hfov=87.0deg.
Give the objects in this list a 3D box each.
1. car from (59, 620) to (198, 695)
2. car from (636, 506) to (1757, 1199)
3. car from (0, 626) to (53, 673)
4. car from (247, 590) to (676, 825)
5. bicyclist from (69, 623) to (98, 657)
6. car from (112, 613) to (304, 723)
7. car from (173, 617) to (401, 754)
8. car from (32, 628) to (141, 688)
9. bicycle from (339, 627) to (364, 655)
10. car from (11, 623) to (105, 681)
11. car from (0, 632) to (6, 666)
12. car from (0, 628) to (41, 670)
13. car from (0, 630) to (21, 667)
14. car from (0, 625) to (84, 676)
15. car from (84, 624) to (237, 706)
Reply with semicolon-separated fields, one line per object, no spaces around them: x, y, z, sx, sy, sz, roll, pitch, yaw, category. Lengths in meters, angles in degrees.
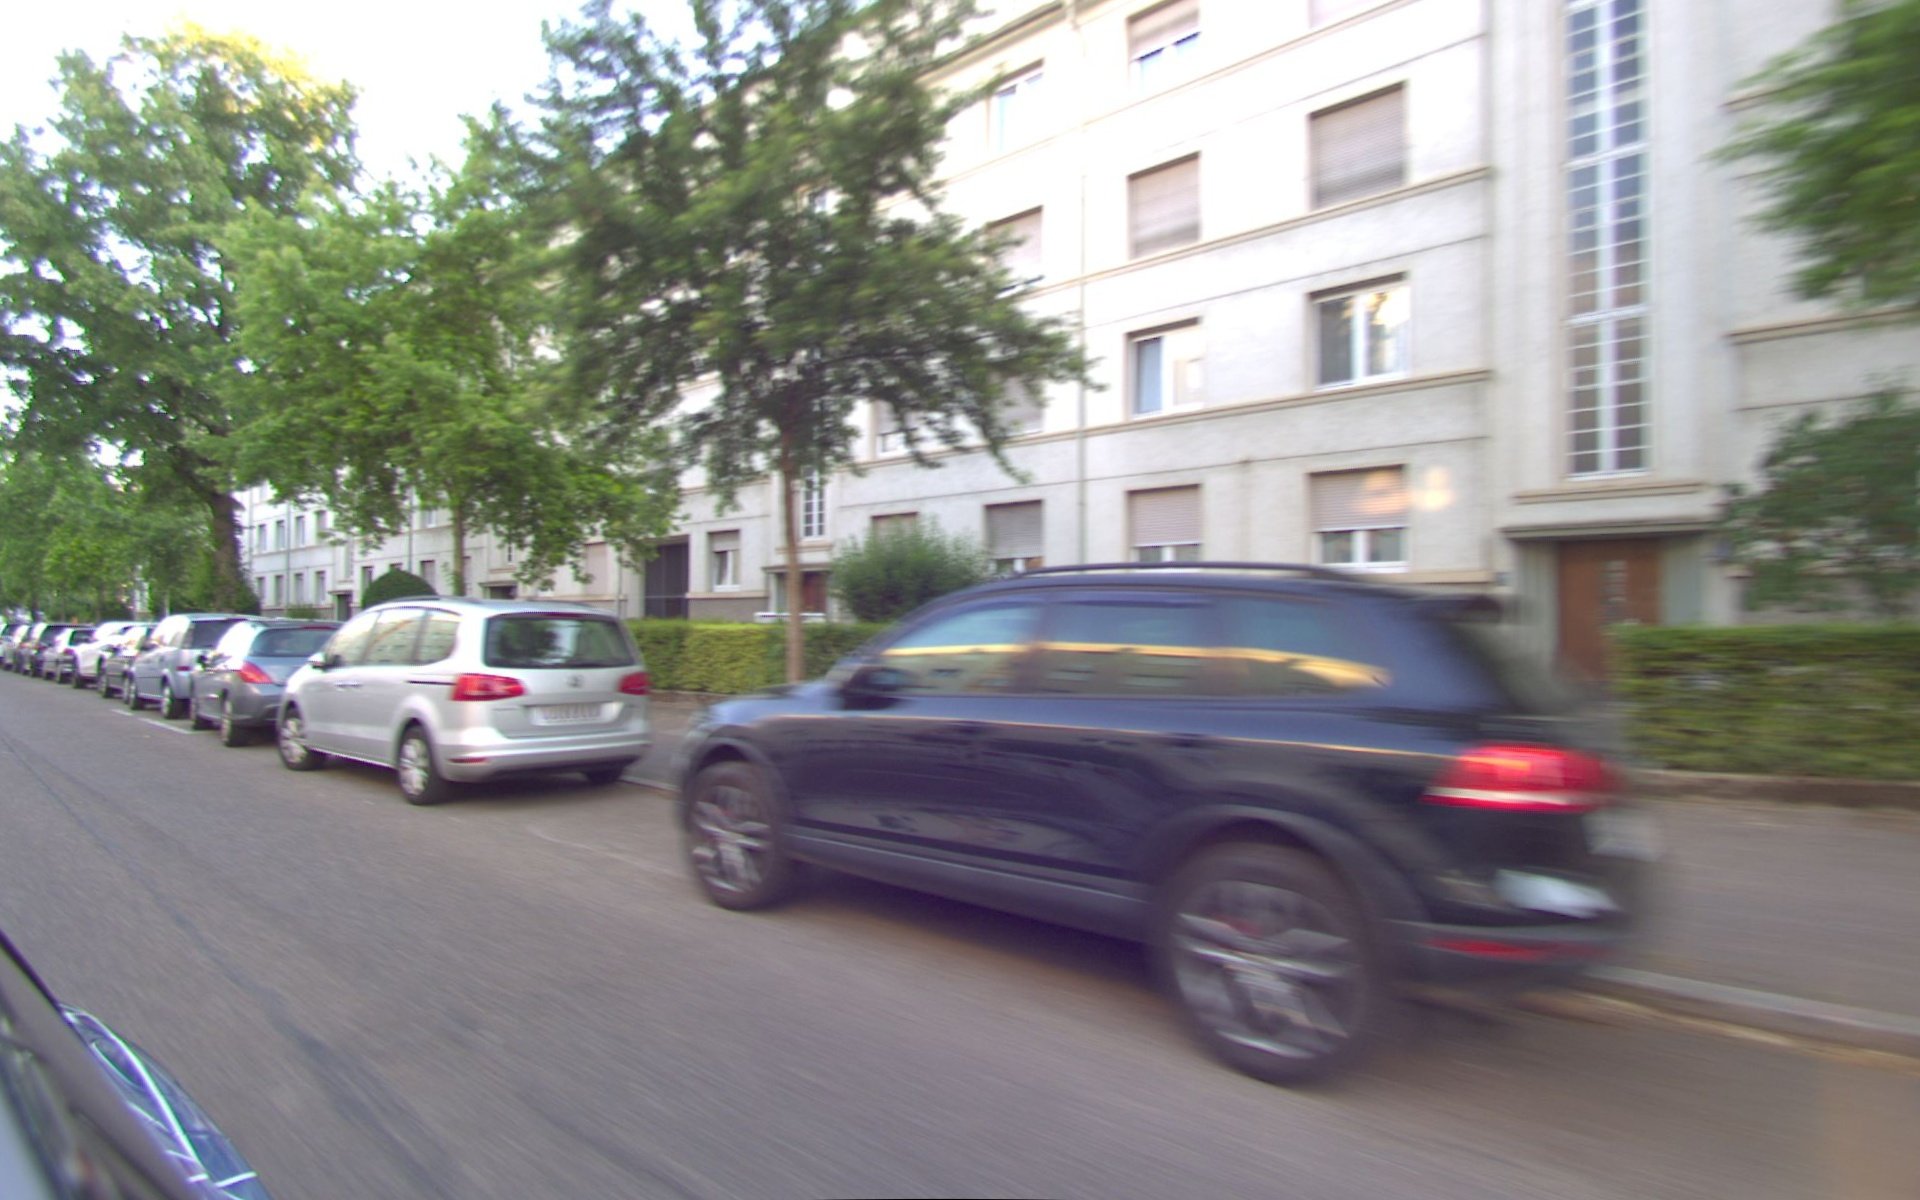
-18.903;1.280;22.951;4.203;1.550;1.574;-1;-5;40;car
0.650;0.728;4.763;4.769;1.732;1.933;-1;-4;41;car
-32.675;1.704;35.071;2.922;1.541;1.572;-2;-5;44;car
-4.934;0.868;9.661;4.855;1.704;1.828;-1;-4;40;car
-37.828;1.710;43.678;0.973;1.415;0.799;-2;-2;41;bicyclist
-12.566;1.090;16.822;4.115;1.613;1.689;-1;-5;42;car
-8.977;1.037;13.347;1.712;1.508;4.273;4;-4;-44;car
-22.879;1.492;26.466;4.180;1.415;1.573;-1;-5;42;car
-28.091;1.888;46.738;1.817;1.240;0.549;-2;-2;45;bicycle
-26.052;1.484;29.204;3.162;1.541;1.507;-1;-5;40;car
-44.186;2.138;45.263;4.142;1.471;1.675;-1;-5;40;car
-35.856;1.804;37.950;3.798;1.516;1.573;-1;-5;42;car
-40.560;1.968;42.111;4.481;1.471;1.674;-1;-5;42;car
-29.167;1.580;31.968;4.099;1.477;1.574;-1;-5;40;car
-15.772;1.249;19.908;3.842;1.463;1.689;-1;-5;42;car
